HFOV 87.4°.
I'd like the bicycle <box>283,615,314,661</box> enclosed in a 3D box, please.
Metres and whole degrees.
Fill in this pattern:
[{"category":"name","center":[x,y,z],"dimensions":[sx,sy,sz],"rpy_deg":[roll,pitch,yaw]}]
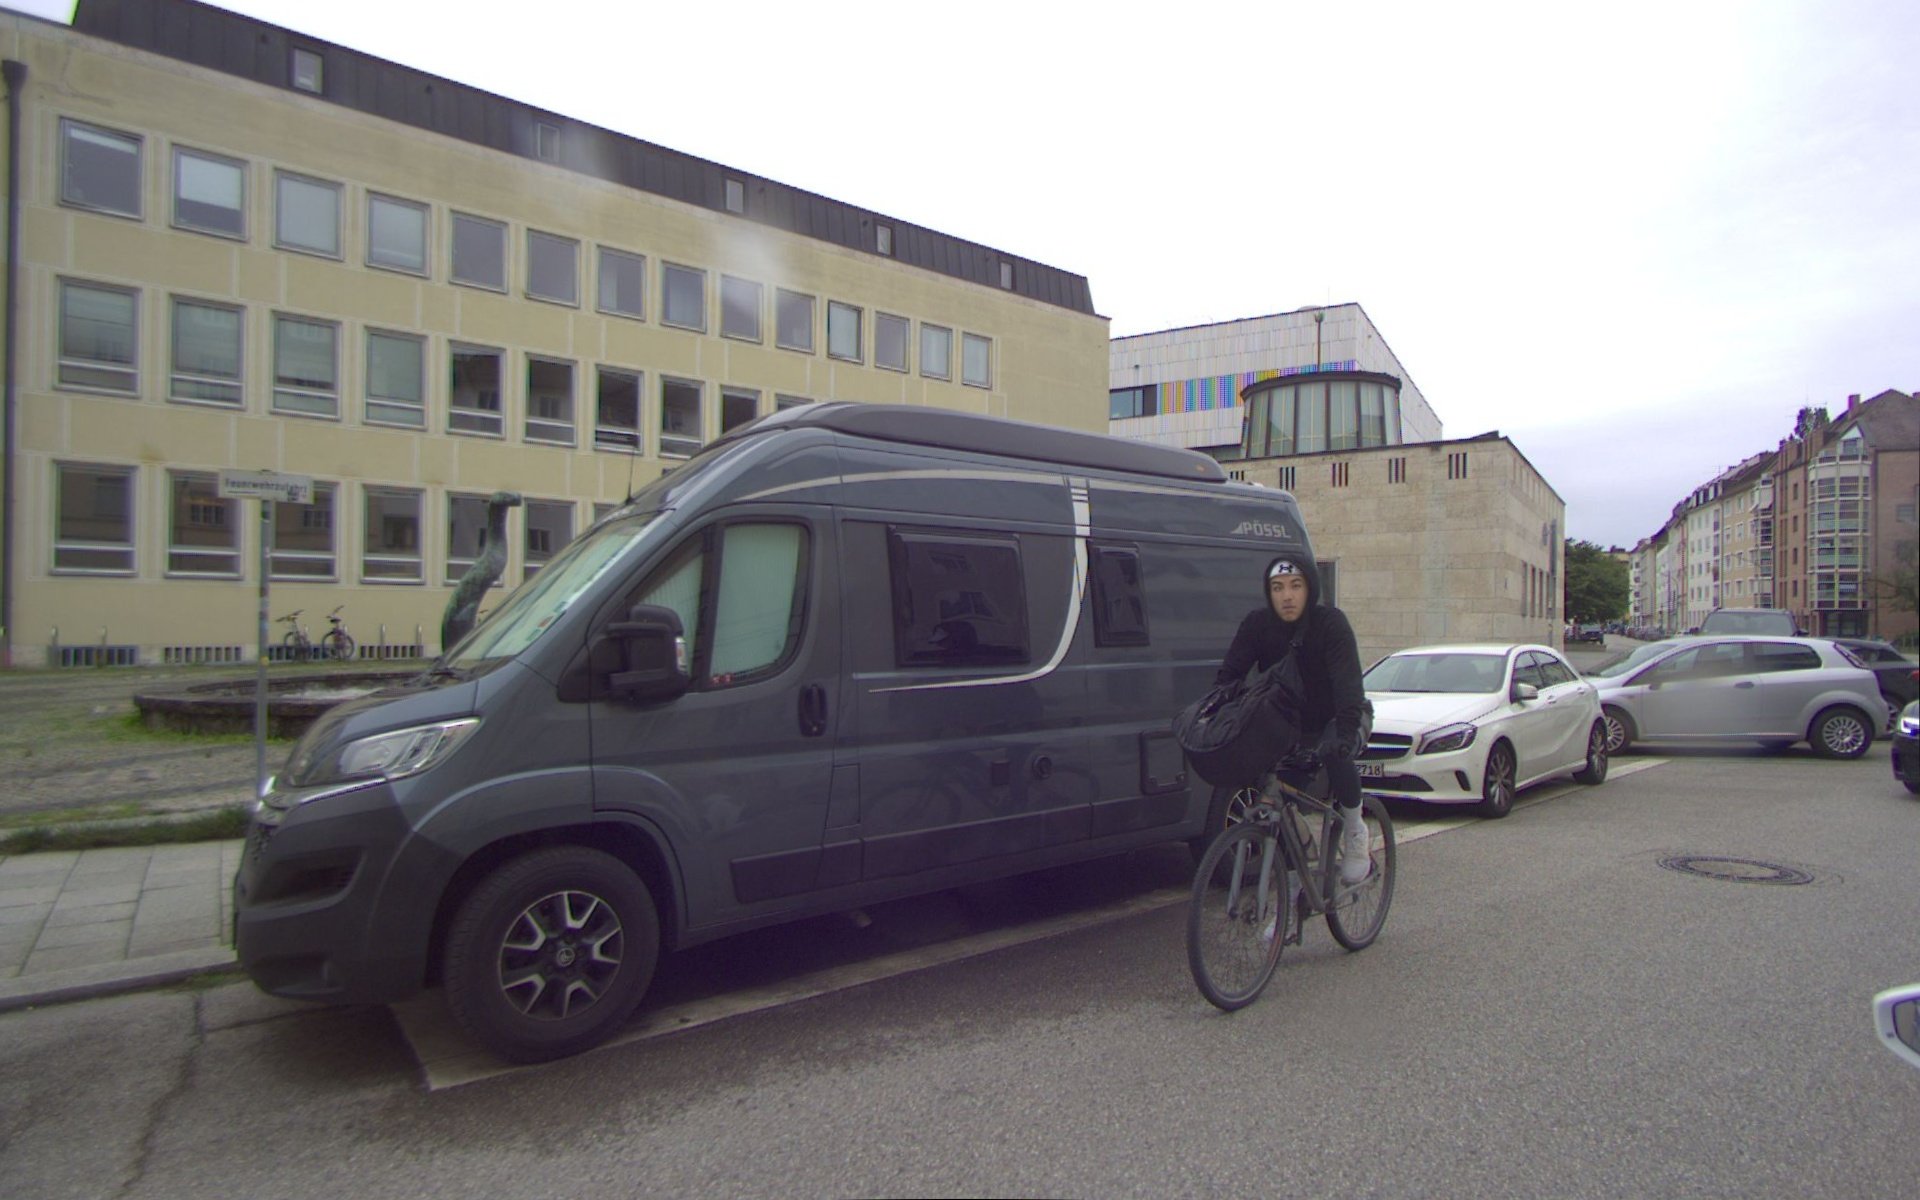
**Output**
[{"category":"bicycle","center":[-14.769,0.832,22.402],"dimensions":[0.411,0.957,1.458],"rpy_deg":[0,1,-40]}]

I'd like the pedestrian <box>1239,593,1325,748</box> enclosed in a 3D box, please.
[{"category":"pedestrian","center":[4.109,0.859,12.807],"dimensions":[0.832,1.891,0.711],"rpy_deg":[1,0,38]}]

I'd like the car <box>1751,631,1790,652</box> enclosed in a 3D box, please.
[{"category":"car","center":[63.820,3.243,79.141],"dimensions":[1.608,1.503,3.606],"rpy_deg":[1,-1,27]}]

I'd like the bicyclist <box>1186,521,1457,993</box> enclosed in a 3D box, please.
[{"category":"bicyclist","center":[1.565,0.613,4.378],"dimensions":[0.808,1.794,0.739],"rpy_deg":[0,-3,-38]}]

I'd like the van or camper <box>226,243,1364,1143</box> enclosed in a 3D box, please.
[{"category":"van or camper","center":[-0.394,0.346,5.711],"dimensions":[6.032,2.615,2.280],"rpy_deg":[1,-3,-38]}]

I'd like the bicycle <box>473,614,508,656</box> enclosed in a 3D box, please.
[{"category":"bicycle","center":[-11.568,0.844,24.752],"dimensions":[0.411,0.957,1.458],"rpy_deg":[0,1,-40]}]

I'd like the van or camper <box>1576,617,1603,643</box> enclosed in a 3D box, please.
[{"category":"van or camper","center":[63.785,3.031,101.847],"dimensions":[2.066,2.585,4.763],"rpy_deg":[1,-1,29]}]

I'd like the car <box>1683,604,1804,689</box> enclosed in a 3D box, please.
[{"category":"car","center":[18.380,1.045,23.546],"dimensions":[2.027,1.759,4.864],"rpy_deg":[0,-1,39]}]

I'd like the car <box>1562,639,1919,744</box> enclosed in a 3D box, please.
[{"category":"car","center":[11.626,1.343,15.213],"dimensions":[3.918,1.439,1.815],"rpy_deg":[-2,-3,15]}]

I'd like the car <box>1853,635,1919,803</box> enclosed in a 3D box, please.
[{"category":"car","center":[10.468,1.032,9.313],"dimensions":[4.649,1.430,1.911],"rpy_deg":[1,-3,-31]}]

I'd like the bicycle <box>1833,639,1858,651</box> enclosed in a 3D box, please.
[{"category":"bicycle","center":[72.093,3.640,81.800],"dimensions":[1.084,0.865,1.727],"rpy_deg":[1,-1,24]}]

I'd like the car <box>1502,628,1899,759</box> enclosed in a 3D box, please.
[{"category":"car","center":[9.334,1.173,13.031],"dimensions":[3.733,1.527,1.715],"rpy_deg":[-2,-3,16]}]

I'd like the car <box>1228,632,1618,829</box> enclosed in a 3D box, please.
[{"category":"car","center":[4.625,1.072,9.750],"dimensions":[4.184,1.470,1.975],"rpy_deg":[1,-3,-43]}]

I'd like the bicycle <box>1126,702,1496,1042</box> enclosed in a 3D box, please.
[{"category":"bicycle","center":[1.608,1.050,4.414],"dimensions":[1.920,1.083,0.581],"rpy_deg":[1,-3,-39]}]

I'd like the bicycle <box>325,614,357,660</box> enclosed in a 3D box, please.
[{"category":"bicycle","center":[-14.181,0.833,22.991],"dimensions":[0.411,0.957,1.458],"rpy_deg":[0,1,-40]}]
